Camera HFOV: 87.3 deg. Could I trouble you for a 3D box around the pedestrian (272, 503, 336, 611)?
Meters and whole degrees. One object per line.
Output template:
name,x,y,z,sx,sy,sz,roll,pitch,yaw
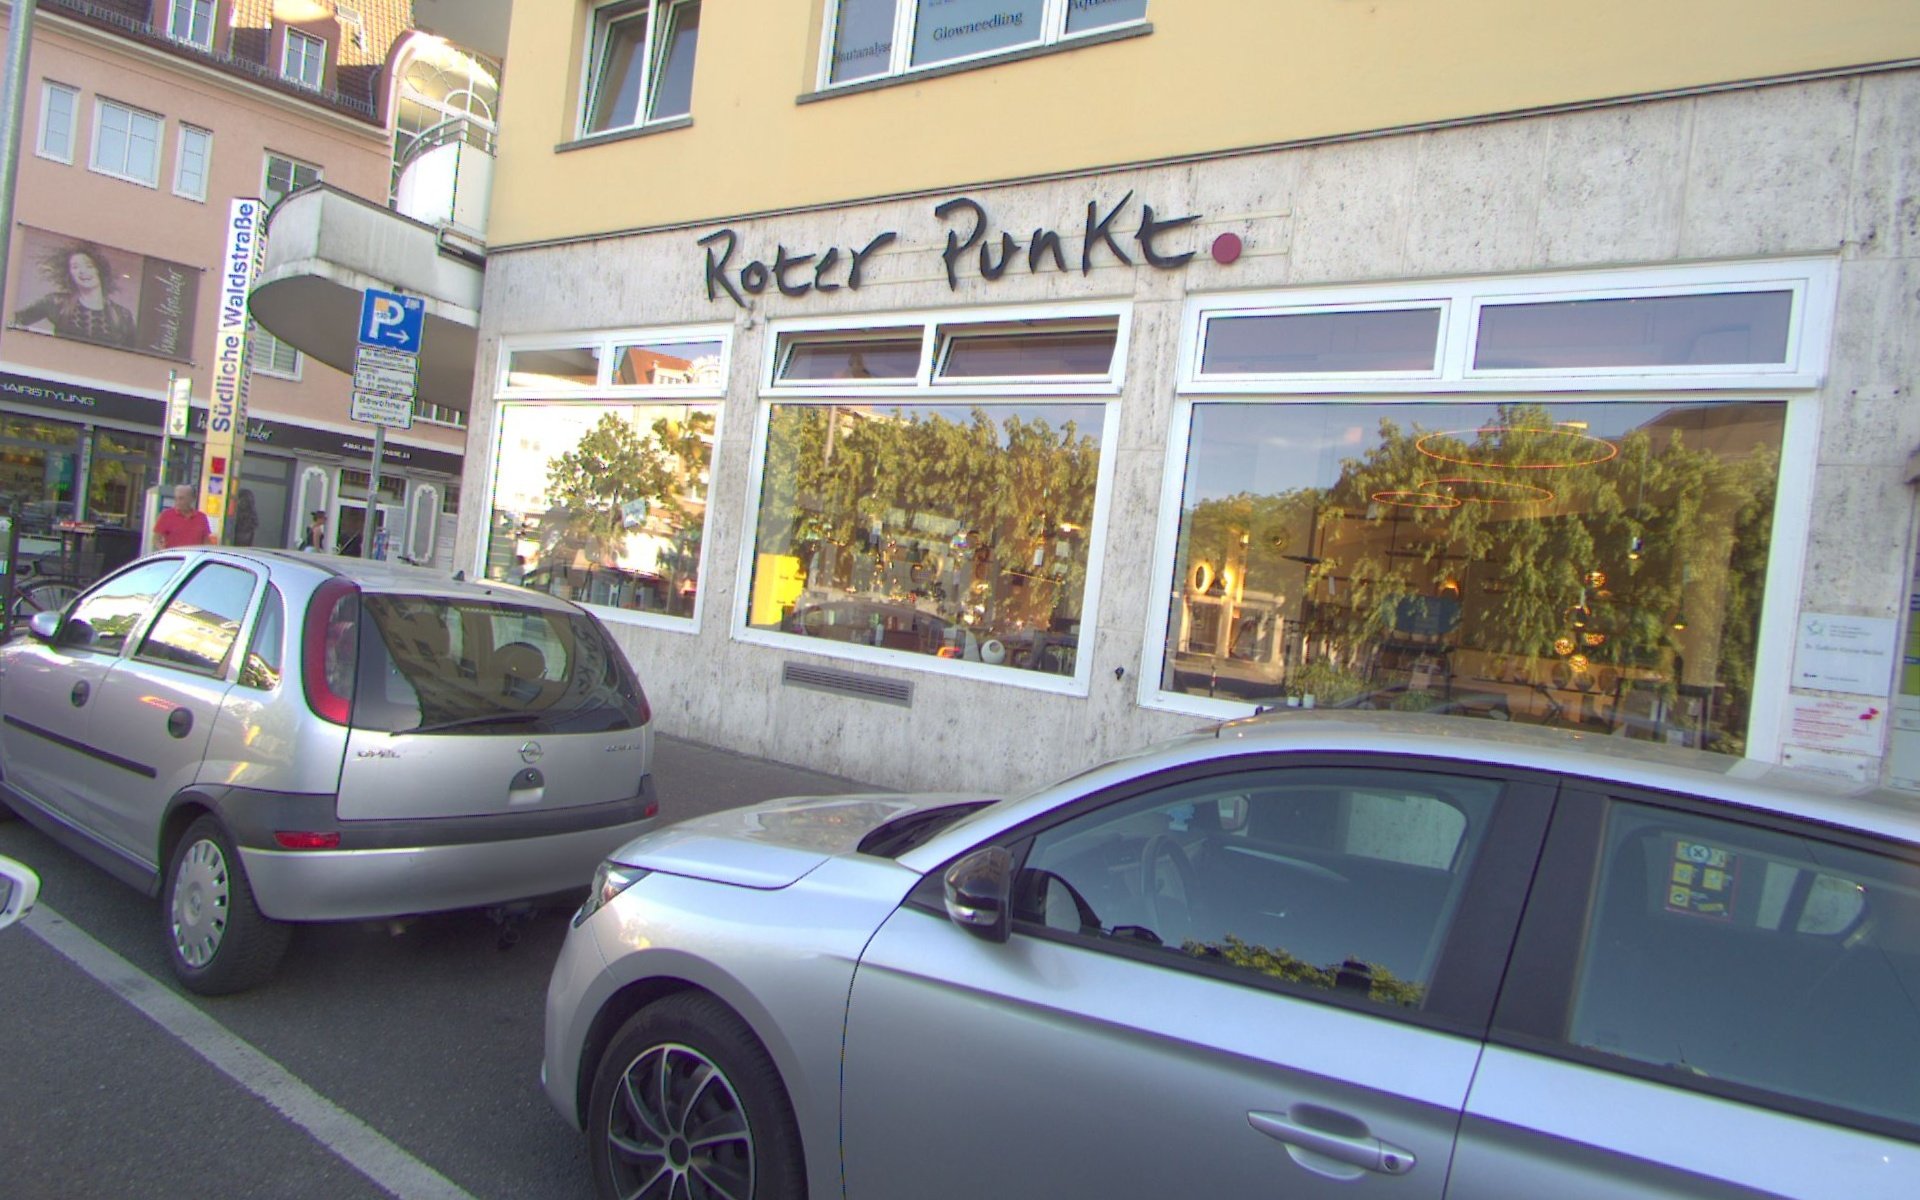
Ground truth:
pedestrian,-12.007,-0.776,18.435,0.672,1.875,0.890,4,2,-16

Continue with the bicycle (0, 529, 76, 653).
bicycle,-9.065,-0.152,8.801,0.642,1.072,1.816,7,-1,33

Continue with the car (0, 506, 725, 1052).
car,-2.966,0.483,4.464,3.520,1.443,1.587,6,-2,32

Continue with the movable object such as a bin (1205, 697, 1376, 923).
movable object such as a bin,1.816,1.097,5.480,0.639,1.035,0.738,6,-1,31

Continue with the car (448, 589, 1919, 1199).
car,0.771,0.943,2.284,3.624,1.453,1.587,6,-2,30

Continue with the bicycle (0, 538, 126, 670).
bicycle,-8.174,0.002,8.256,0.642,1.057,1.884,7,0,33

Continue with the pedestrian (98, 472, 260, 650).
pedestrian,-8.543,-0.417,11.011,1.098,1.739,1.057,6,-2,42

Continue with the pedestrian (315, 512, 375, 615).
pedestrian,-11.201,-0.662,18.344,0.714,1.777,0.783,4,2,-23

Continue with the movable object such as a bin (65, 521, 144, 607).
movable object such as a bin,-11.965,-0.499,14.067,0.716,1.117,0.636,7,2,35

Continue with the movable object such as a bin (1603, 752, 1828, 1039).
movable object such as a bin,3.364,1.265,4.550,0.639,1.035,0.738,6,-1,31
